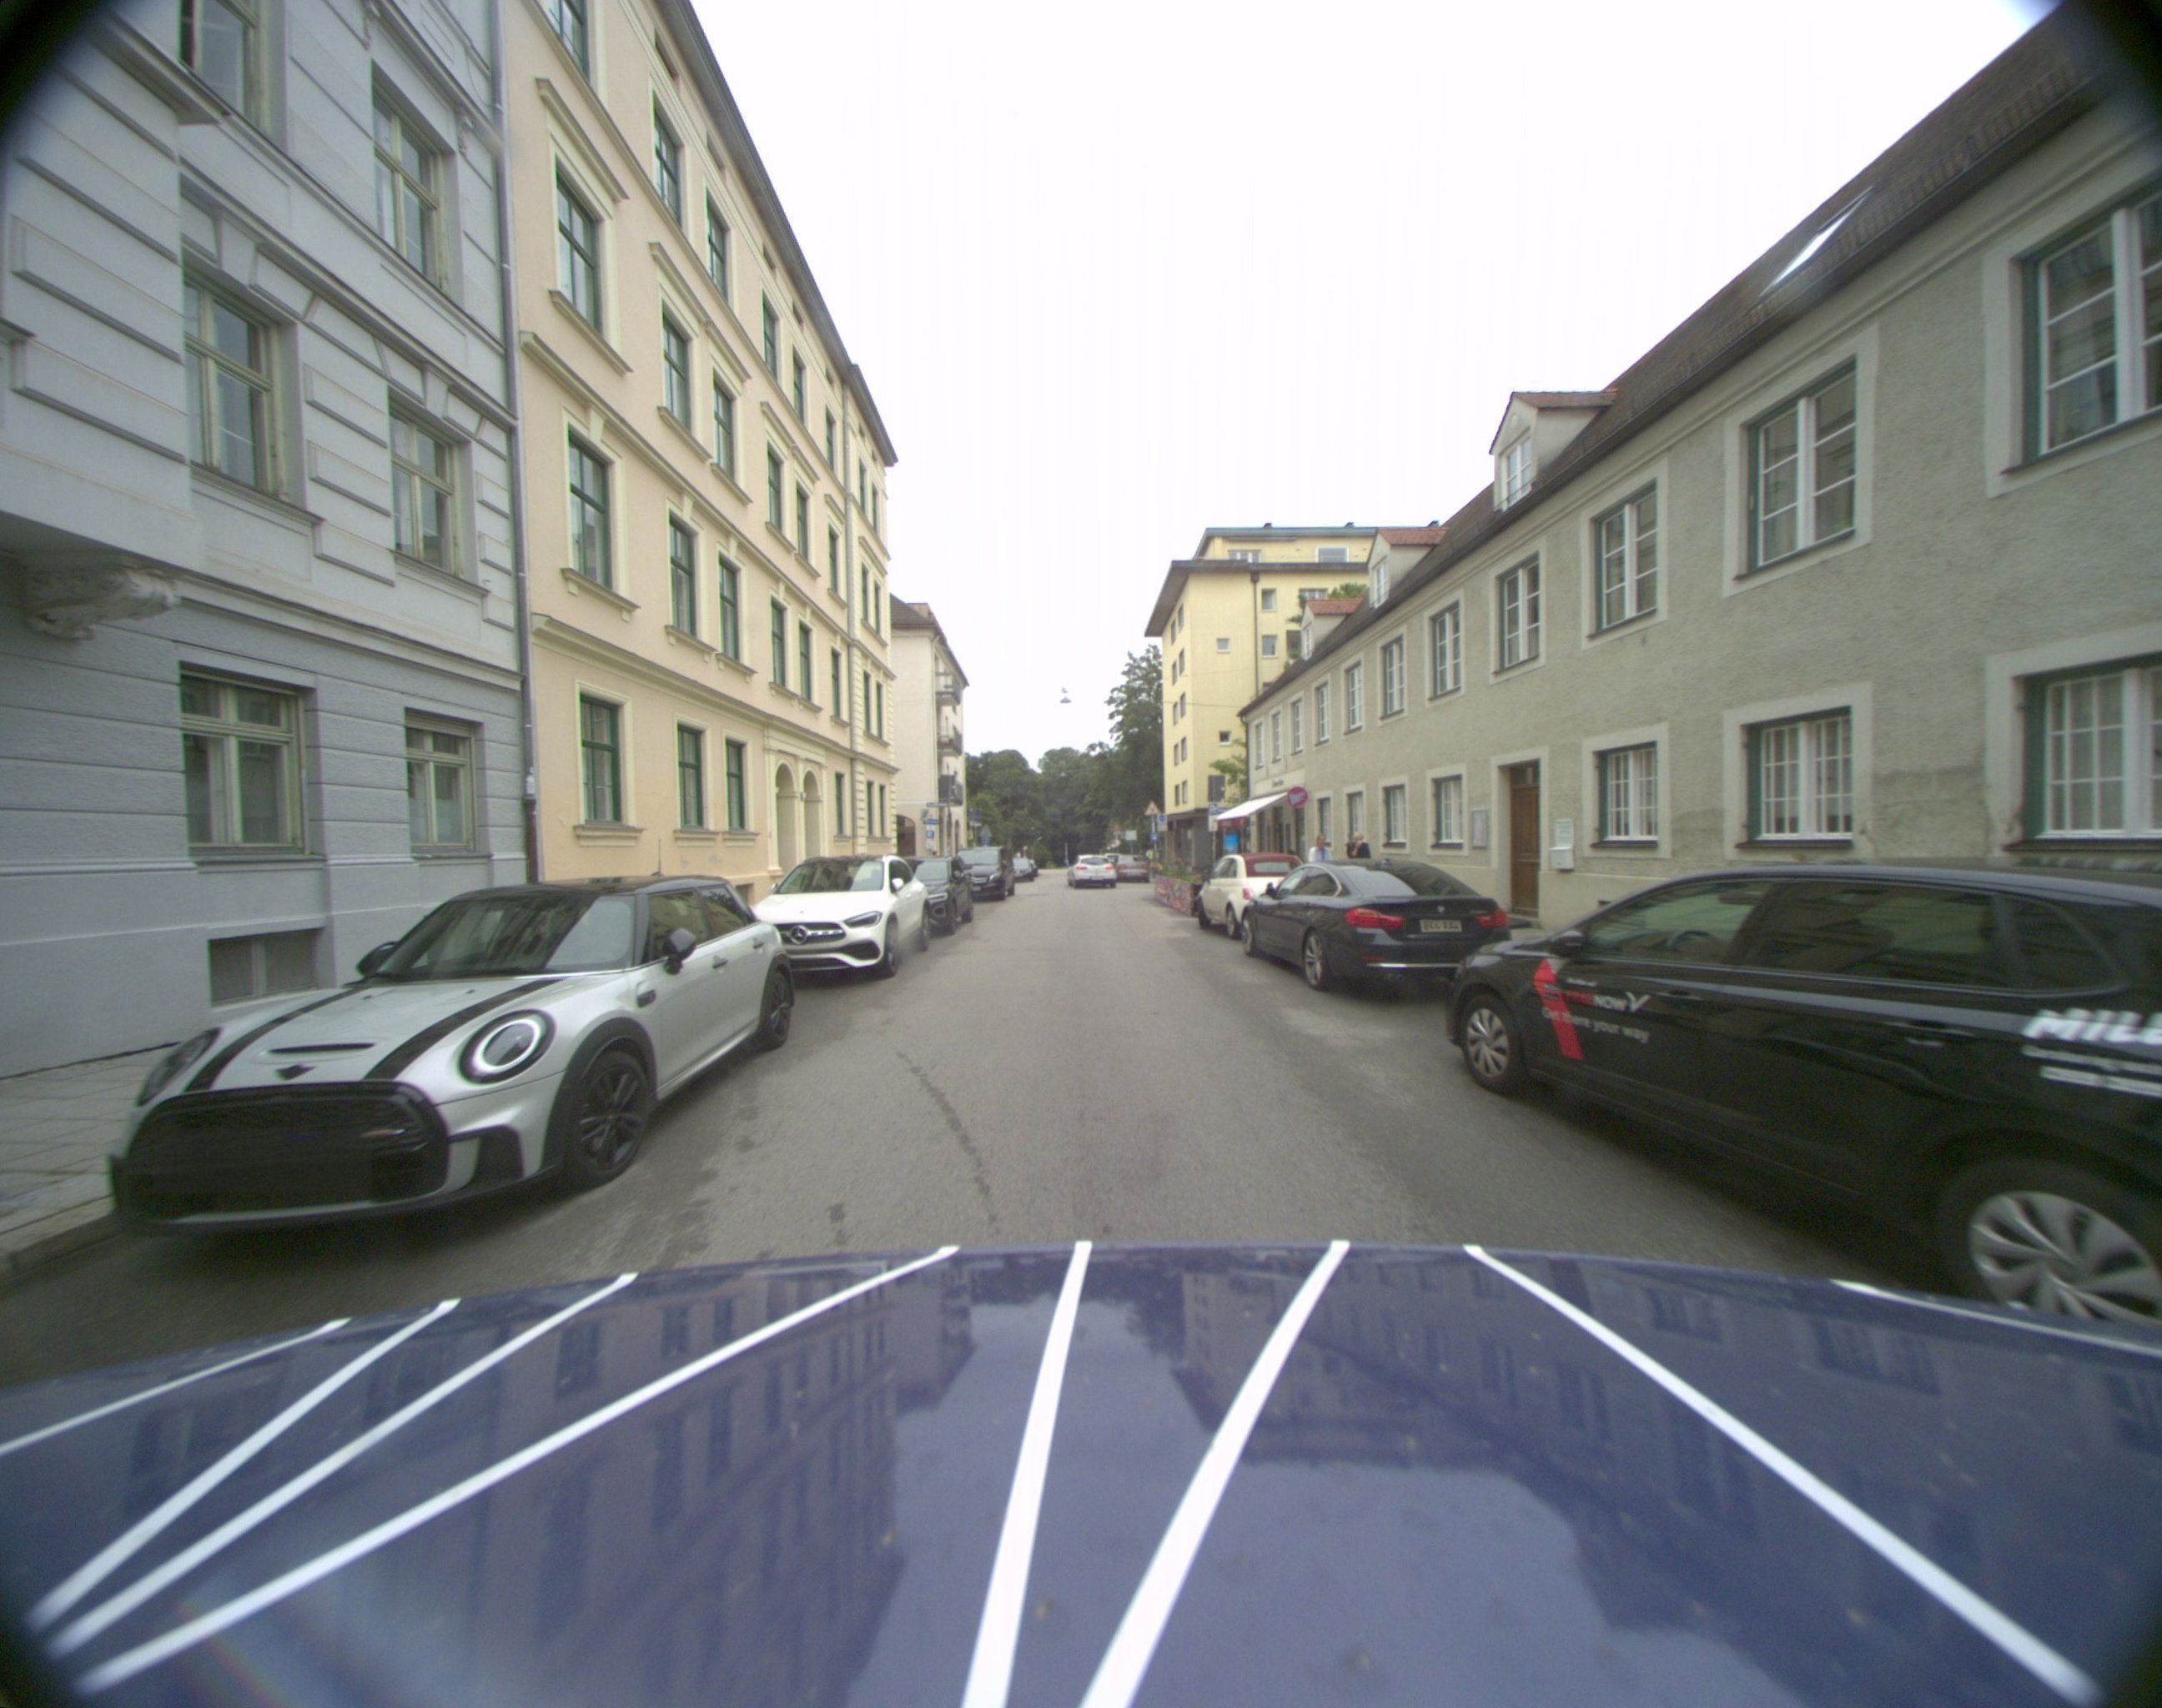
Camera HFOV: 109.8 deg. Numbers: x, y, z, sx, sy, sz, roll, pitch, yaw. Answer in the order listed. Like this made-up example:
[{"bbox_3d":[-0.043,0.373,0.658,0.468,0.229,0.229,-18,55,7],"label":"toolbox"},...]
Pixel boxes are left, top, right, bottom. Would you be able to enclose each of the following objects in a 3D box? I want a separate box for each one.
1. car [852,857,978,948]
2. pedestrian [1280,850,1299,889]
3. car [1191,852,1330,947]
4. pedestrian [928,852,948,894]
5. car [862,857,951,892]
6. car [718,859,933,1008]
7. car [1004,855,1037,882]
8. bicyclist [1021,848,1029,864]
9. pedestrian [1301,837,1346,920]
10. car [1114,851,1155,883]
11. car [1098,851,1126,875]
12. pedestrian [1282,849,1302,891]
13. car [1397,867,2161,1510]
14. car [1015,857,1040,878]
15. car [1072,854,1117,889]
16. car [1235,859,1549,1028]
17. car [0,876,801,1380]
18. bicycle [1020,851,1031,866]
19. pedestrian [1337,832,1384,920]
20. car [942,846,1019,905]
[{"bbox_3d":[-3.295,0.891,15.869,1.721,1.557,4.142,-1,1,0],"label":"car"},{"bbox_3d":[6.623,0.481,24.134,0.509,1.206,0.595,-3,-1,13],"label":"pedestrian"},{"bbox_3d":[3.232,0.751,14.347,1.573,1.506,3.422,-2,1,-4],"label":"car"},{"bbox_3d":[-6.085,0.799,32.376,0.698,1.792,0.730,-1,1,-1],"label":"pedestrian"},{"bbox_3d":[-8.557,0.982,37.459,3.998,1.557,1.711,-1,1,-4],"label":"car"},{"bbox_3d":[-3.323,0.917,10.827,1.721,1.592,4.321,-1,1,-2],"label":"car"},{"bbox_3d":[-3.538,0.821,45.157,1.711,1.491,3.999,-1,1,-1],"label":"car"},{"bbox_3d":[-5.466,0.193,74.558,0.650,1.466,0.766,-2,1,3],"label":"bicyclist"},{"bbox_3d":[4.779,0.470,14.998,0.614,1.589,0.662,-1,1,-4],"label":"pedestrian"},{"bbox_3d":[2.746,0.639,39.584,1.711,1.491,3.999,-1,1,-1],"label":"car"},{"bbox_3d":[2.168,0.598,53.546,1.711,1.550,3.999,-1,1,-1],"label":"car"},{"bbox_3d":[6.472,0.495,23.340,0.523,1.258,0.548,-3,-1,13],"label":"pedestrian"},{"bbox_3d":[3.392,0.845,3.419,1.863,1.393,4.267,-2,1,-5],"label":"car"},{"bbox_3d":[-4.025,0.977,57.836,1.711,1.491,3.999,-1,1,-1],"label":"car"},{"bbox_3d":[0.540,0.710,33.027,1.793,1.409,3.904,0,1,-1],"label":"car"},{"bbox_3d":[3.270,0.827,9.037,1.862,1.393,4.268,-2,1,-1],"label":"car"},{"bbox_3d":[-3.163,0.975,4.519,1.722,1.501,3.934,-1,1,-4],"label":"car"},{"bbox_3d":[-5.434,0.423,74.652,0.689,1.371,2.398,-2,1,5],"label":"bicycle"},{"bbox_3d":[5.578,0.424,15.203,0.582,1.689,0.806,-1,1,-4],"label":"pedestrian"},{"bbox_3d":[-3.460,0.674,27.185,1.998,1.850,5.113,-1,1,1],"label":"car"}]
